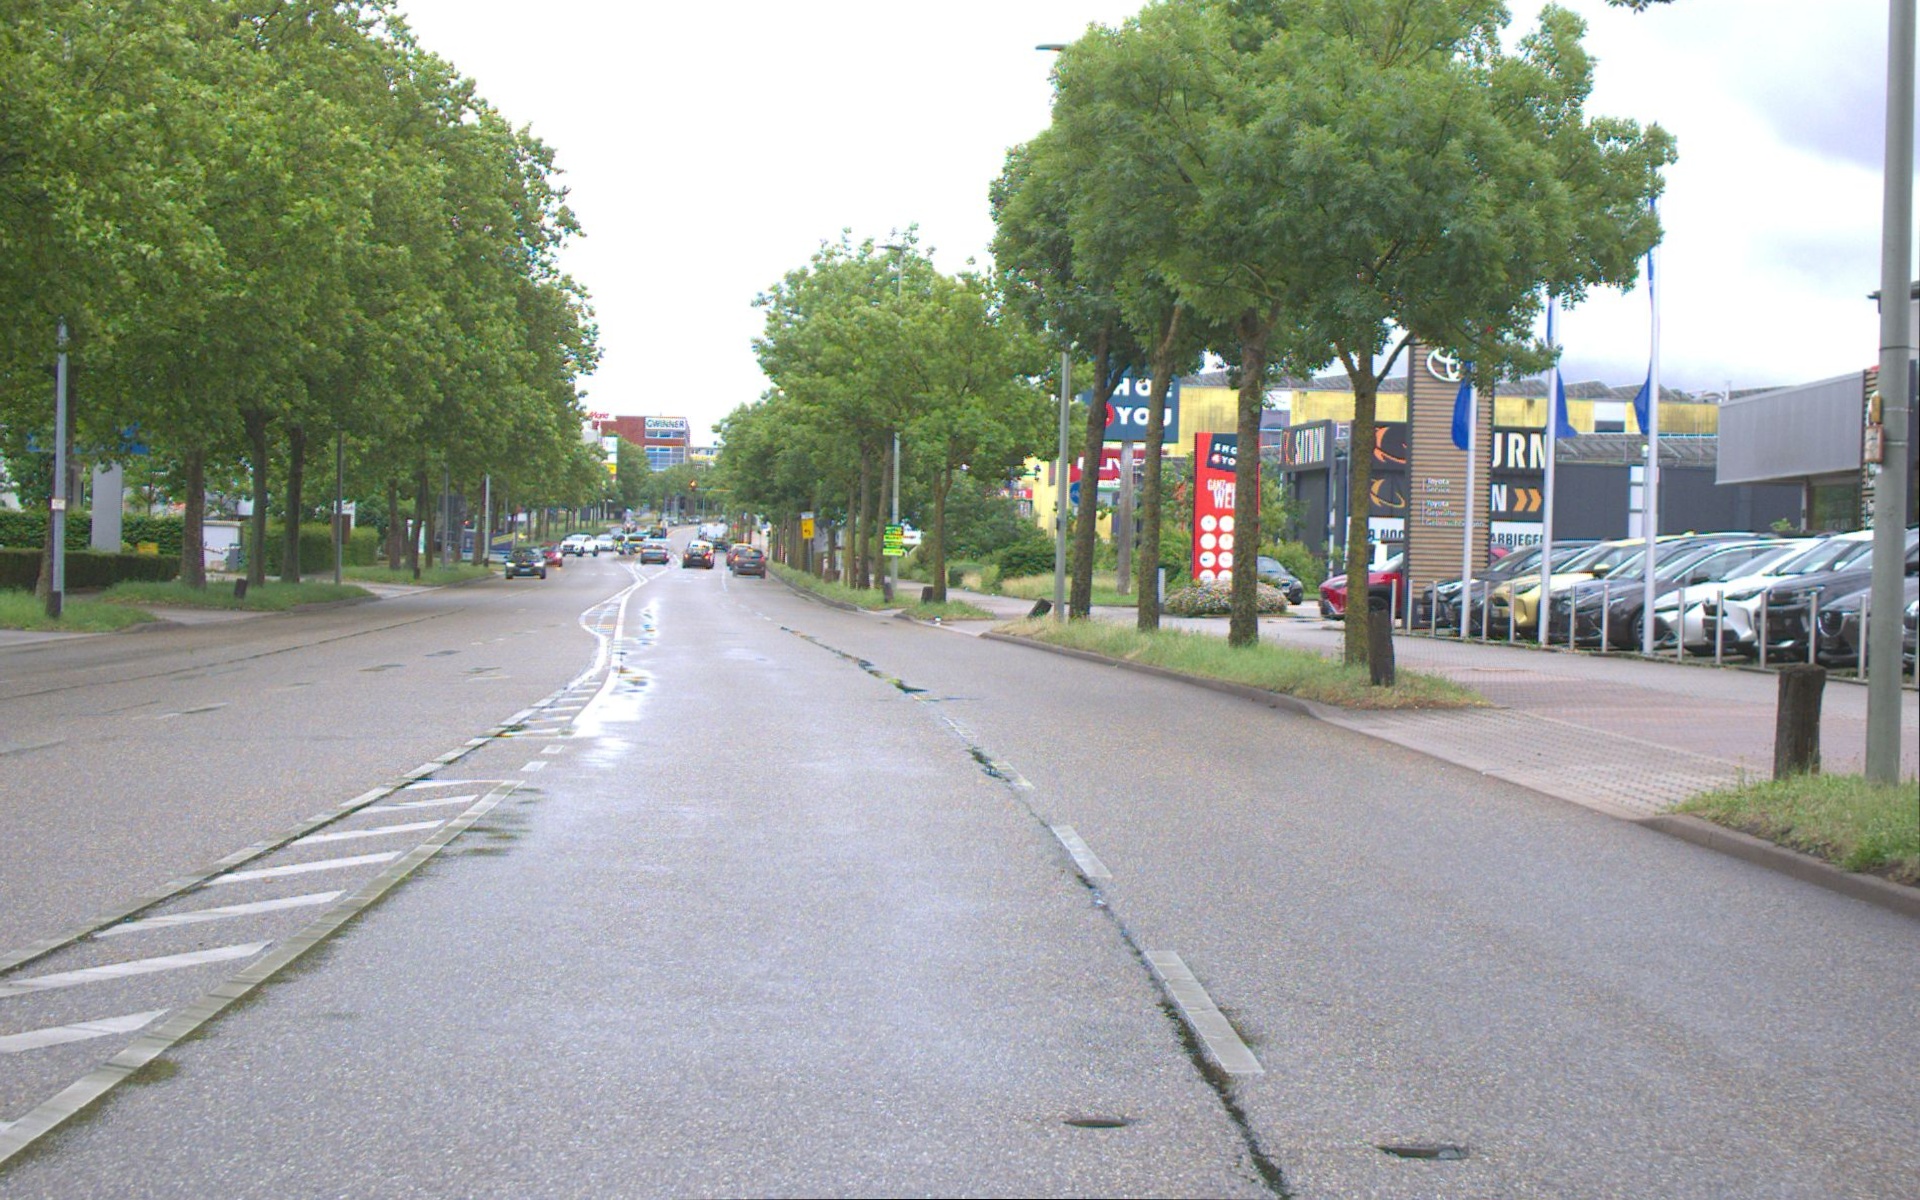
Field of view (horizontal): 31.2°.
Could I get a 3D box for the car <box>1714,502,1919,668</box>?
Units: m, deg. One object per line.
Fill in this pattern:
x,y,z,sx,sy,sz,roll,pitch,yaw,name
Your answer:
11.158,-0.246,40.600,3.987,1.780,1.812,-3,1,-1,car

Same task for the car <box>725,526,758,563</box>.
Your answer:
-12.025,-3.041,189.635,1.745,2.007,4.001,1,1,-3,car

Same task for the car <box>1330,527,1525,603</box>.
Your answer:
12.691,-0.946,93.381,4.820,2.007,1.991,1,0,-13,car

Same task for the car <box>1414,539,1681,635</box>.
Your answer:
9.603,-0.223,56.329,3.986,1.533,1.800,0,1,-4,car

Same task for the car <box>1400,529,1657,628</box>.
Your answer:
9.623,-0.379,58.399,3.986,1.641,1.845,0,1,-3,car

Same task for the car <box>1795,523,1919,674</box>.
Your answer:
11.591,-0.108,38.415,3.987,1.579,1.812,-3,1,-1,car

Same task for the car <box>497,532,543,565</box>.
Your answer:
-19.748,-2.317,154.513,1.803,1.458,3.846,0,1,-4,car

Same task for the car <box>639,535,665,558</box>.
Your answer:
-22.971,-4.015,256.426,1.745,1.695,4.001,1,1,-3,car

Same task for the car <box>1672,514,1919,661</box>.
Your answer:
11.246,-0.201,43.368,3.986,1.582,1.812,-4,2,-5,car

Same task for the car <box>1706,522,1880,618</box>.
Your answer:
14.690,-0.545,60.847,1.874,1.616,4.123,-1,1,-3,car

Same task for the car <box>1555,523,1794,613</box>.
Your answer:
13.409,-0.613,64.680,4.109,1.616,1.880,-1,1,0,car

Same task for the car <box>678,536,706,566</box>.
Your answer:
-18.189,-3.342,233.211,1.745,2.007,4.001,0,1,-3,car

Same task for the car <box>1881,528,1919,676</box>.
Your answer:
11.980,-0.090,36.172,3.987,1.538,1.812,-3,1,-1,car

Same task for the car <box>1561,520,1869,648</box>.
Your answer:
10.834,-0.239,49.507,3.986,1.780,1.812,0,1,-1,car

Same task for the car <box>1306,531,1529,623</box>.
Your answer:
8.562,-0.437,64.521,3.840,1.598,1.795,-2,1,-3,car

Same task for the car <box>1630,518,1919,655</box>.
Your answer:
11.129,-0.189,45.862,3.986,1.780,1.812,0,1,-1,car

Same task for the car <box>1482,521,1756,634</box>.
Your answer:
10.333,-0.363,54.038,3.838,1.560,1.667,-3,1,-6,car
